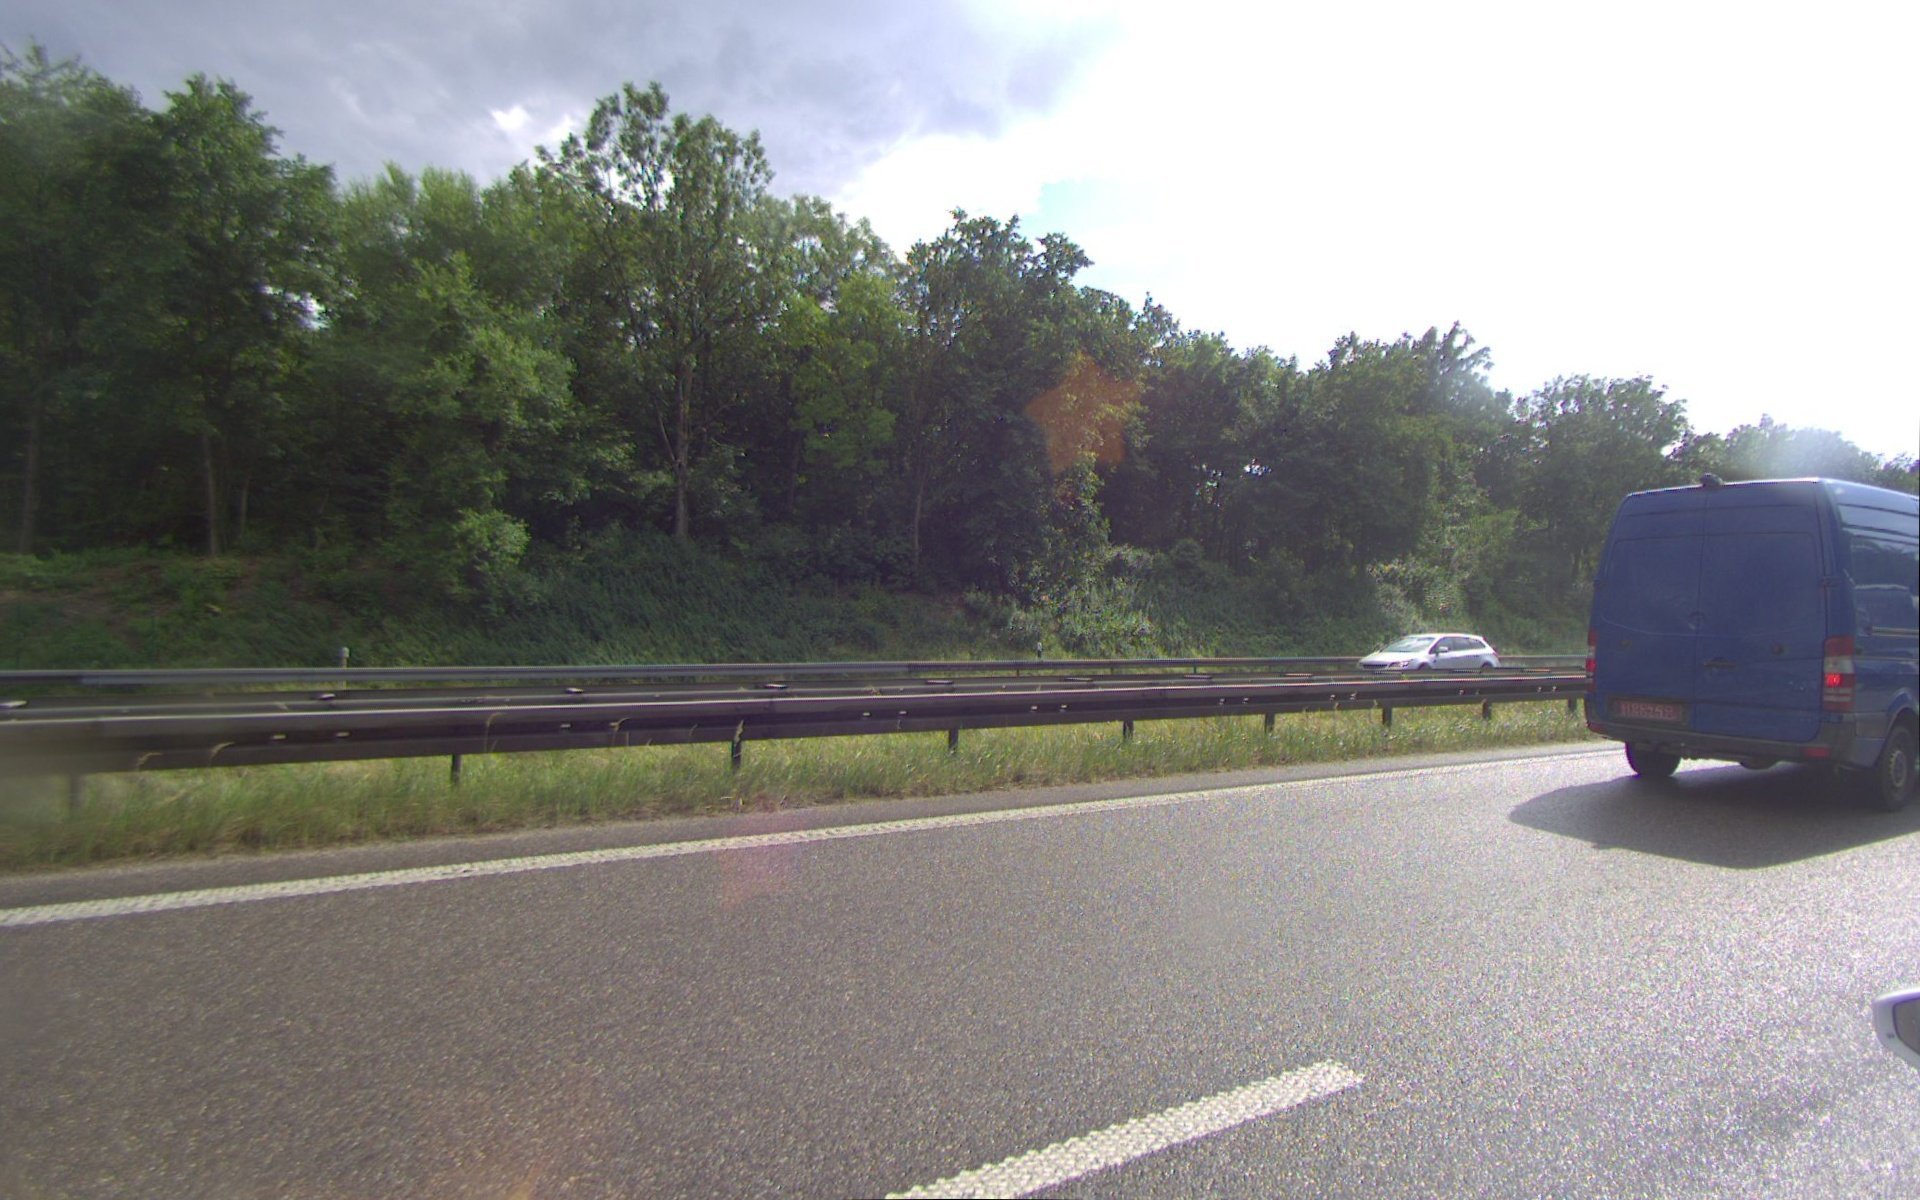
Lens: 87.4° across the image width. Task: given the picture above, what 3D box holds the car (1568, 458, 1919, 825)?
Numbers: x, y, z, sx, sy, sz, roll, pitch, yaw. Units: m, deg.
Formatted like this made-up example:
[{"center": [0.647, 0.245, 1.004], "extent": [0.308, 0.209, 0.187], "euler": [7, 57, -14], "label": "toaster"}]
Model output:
[{"center": [8.477, 0.362, 9.690], "extent": [5.710, 2.684, 2.005], "euler": [1, 0, -31], "label": "car"}]

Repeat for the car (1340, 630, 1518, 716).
[{"center": [12.618, 1.901, 26.964], "extent": [4.750, 2.040, 1.984], "euler": [2, 0, -30], "label": "car"}]
